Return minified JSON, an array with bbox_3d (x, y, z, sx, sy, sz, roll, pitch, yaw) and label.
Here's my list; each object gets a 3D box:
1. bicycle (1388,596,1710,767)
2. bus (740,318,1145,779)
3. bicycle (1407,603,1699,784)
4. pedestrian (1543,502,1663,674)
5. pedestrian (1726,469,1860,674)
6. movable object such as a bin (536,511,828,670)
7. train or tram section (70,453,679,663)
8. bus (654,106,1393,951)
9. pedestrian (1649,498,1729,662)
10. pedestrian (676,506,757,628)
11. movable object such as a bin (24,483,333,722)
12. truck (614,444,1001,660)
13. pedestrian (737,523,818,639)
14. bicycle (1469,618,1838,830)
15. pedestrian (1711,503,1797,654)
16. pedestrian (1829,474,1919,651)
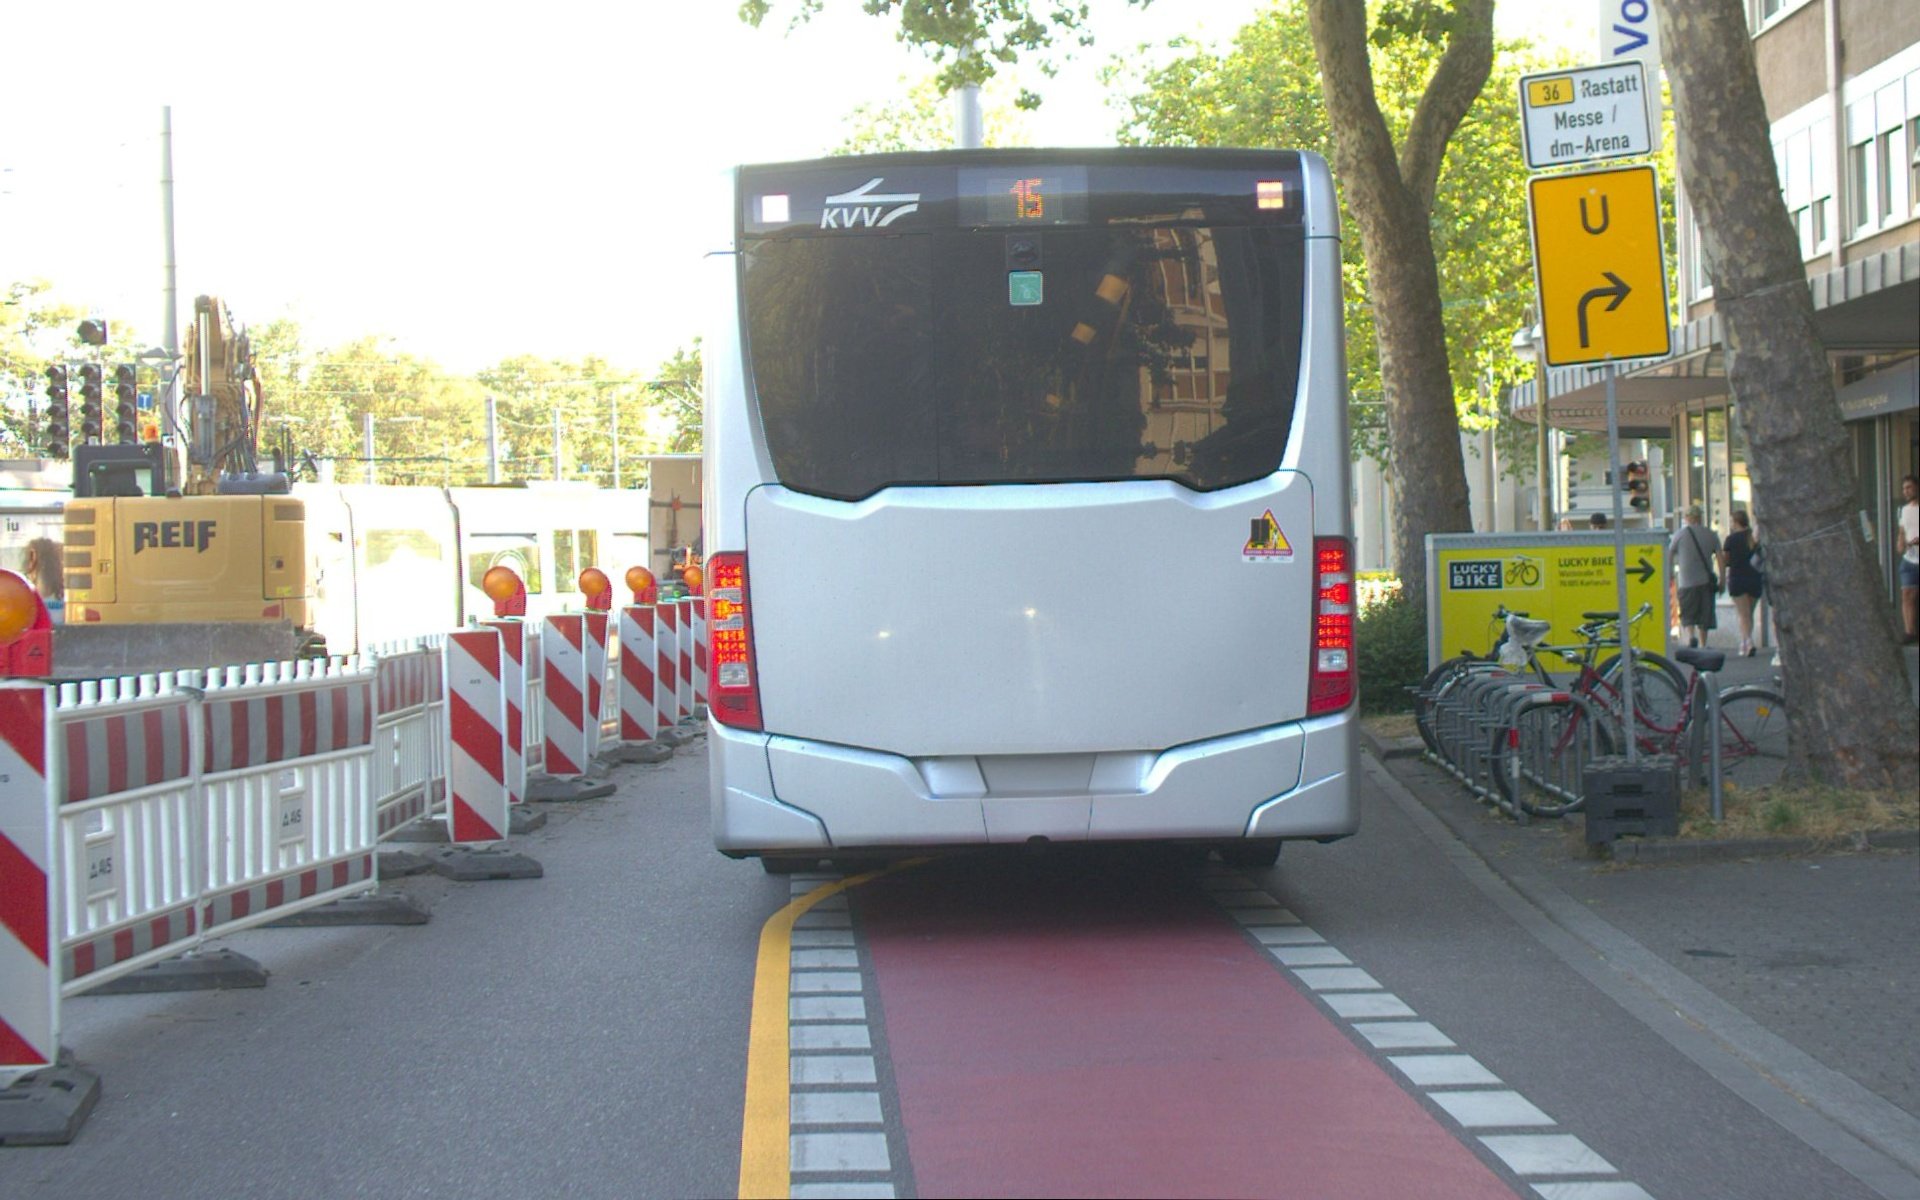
[{"bbox_3d":[3.990,0.543,23.378,1.987,1.054,0.771,-3,0,-3],"label":"bicycle"},{"bbox_3d":[-0.256,-0.400,27.967,2.708,3.096,8.980,-1,1,-2],"label":"bus"},{"bbox_3d":[3.775,0.589,21.974,1.713,1.054,0.644,-3,1,1],"label":"bicycle"},{"bbox_3d":[6.764,-0.133,36.227,0.899,1.704,1.071,-5,1,-1],"label":"pedestrian"},{"bbox_3d":[8.018,-0.278,33.131,0.838,1.863,1.099,-6,1,-1],"label":"pedestrian"},{"bbox_3d":[-4.071,-0.191,51.356,1.996,2.249,5.201,1,1,26],"label":"movable object such as a bin"},{"bbox_3d":[-10.522,-0.755,64.311,2.855,3.521,13.371,-1,0,33],"label":"train or tram section"},{"bbox_3d":[0.071,-0.347,18.189,2.733,3.128,10.704,-1,1,-2],"label":"bus"},{"bbox_3d":[7.812,-0.212,36.846,0.583,1.702,0.679,-4,1,-1],"label":"pedestrian"},{"bbox_3d":[-4.067,-0.555,57.481,0.937,2.006,1.000,-1,2,24],"label":"pedestrian"},{"bbox_3d":[-8.127,-0.008,36.281,2.642,2.310,4.903,-1,1,-7],"label":"movable object such as a bin"},{"bbox_3d":[-2.502,-0.854,60.761,2.816,3.529,8.971,-1,1,26],"label":"truck"},{"bbox_3d":[-2.846,-0.307,53.735,0.973,1.792,1.069,1,2,17],"label":"pedestrian"},{"bbox_3d":[3.698,0.650,18.392,1.789,1.018,0.644,-3,1,-3],"label":"bicycle"},{"bbox_3d":[8.506,-0.237,36.826,0.633,1.568,0.774,-4,1,-1],"label":"pedestrian"},{"bbox_3d":[9.531,-0.393,34.995,0.899,1.691,1.071,-7,1,0],"label":"pedestrian"}]
